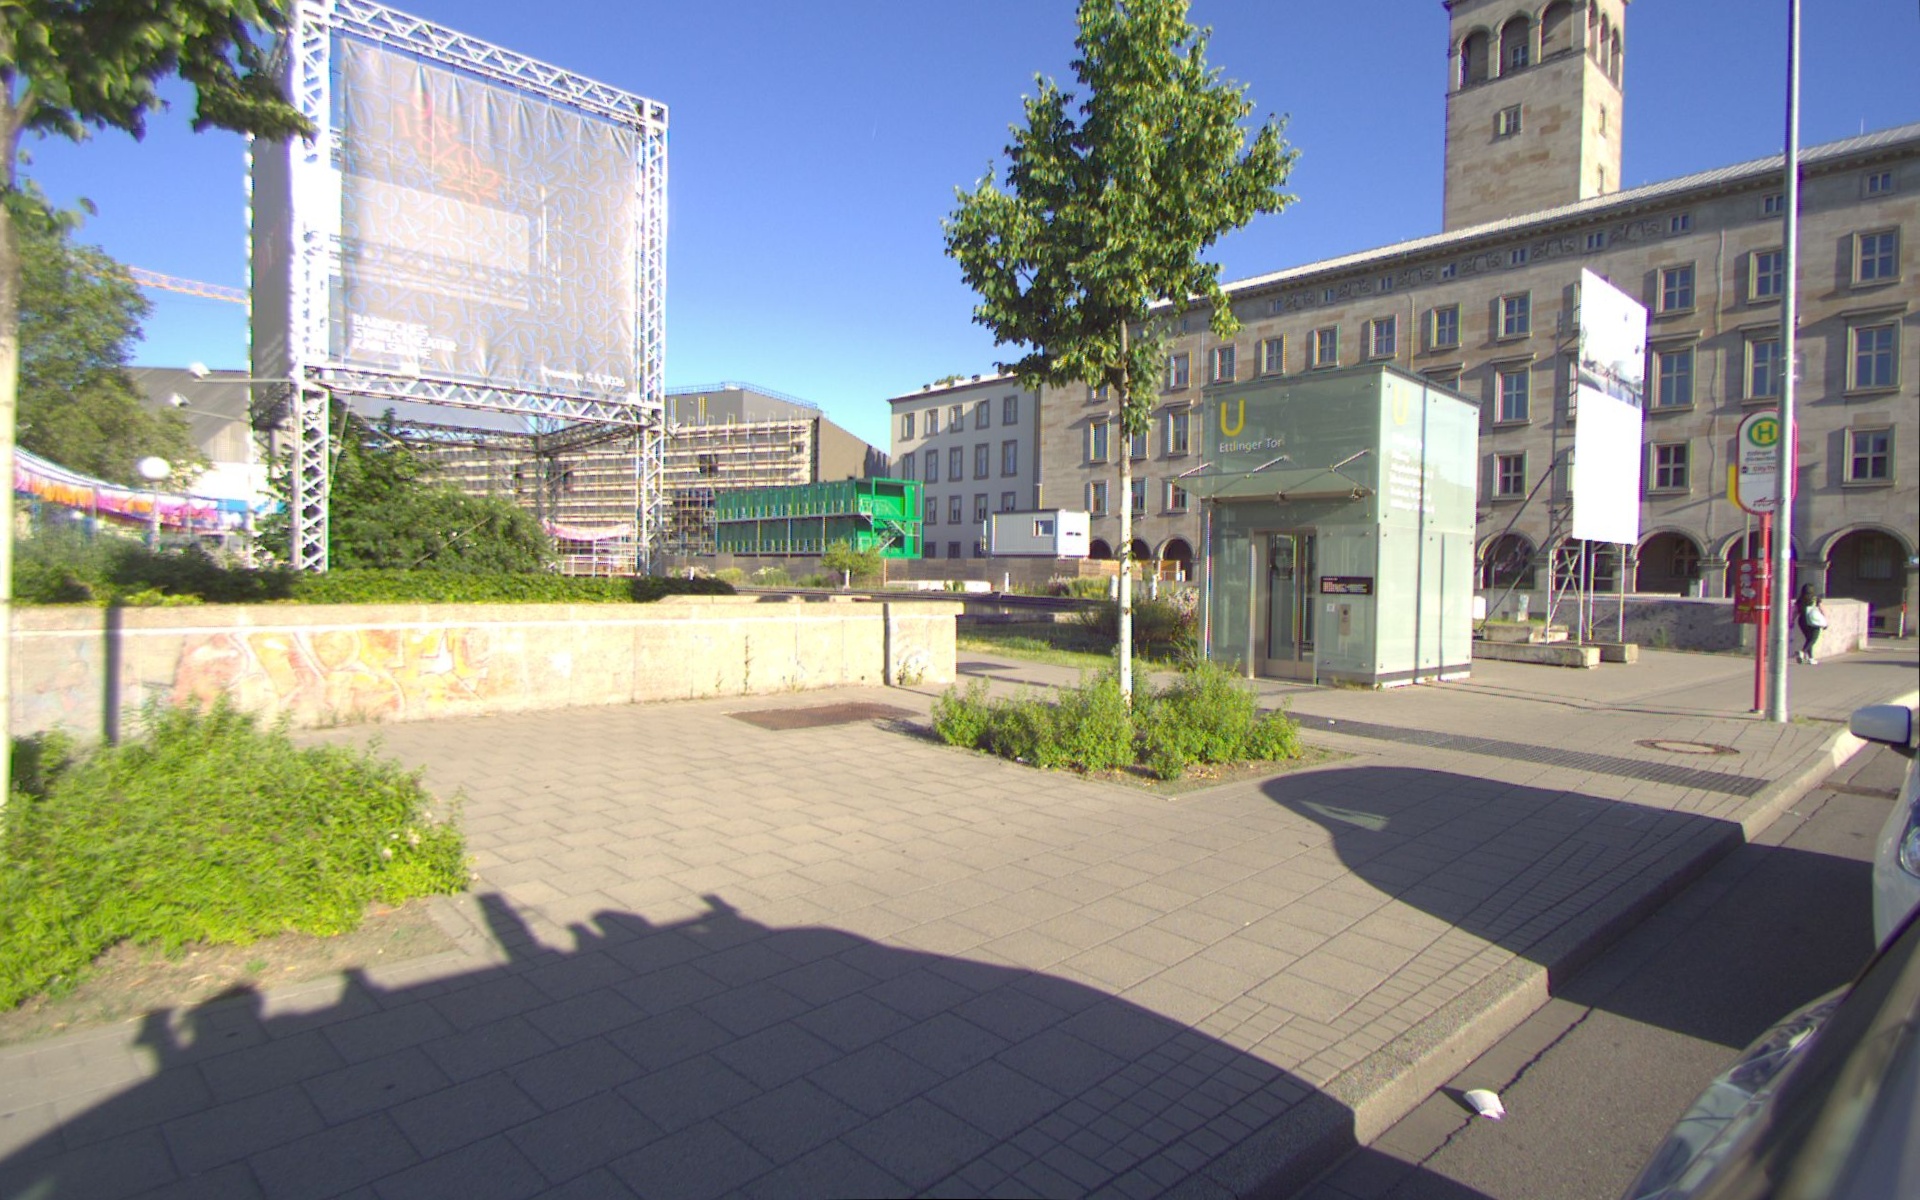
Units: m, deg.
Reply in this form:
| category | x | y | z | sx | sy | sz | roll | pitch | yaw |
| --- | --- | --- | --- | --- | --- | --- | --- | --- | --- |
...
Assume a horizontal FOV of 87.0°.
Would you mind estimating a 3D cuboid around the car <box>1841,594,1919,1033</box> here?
| category | x | y | z | sx | sy | sz | roll | pitch | yaw |
| --- | --- | --- | --- | --- | --- | --- | --- | --- | --- |
| car | 5.099 | 0.713 | 4.062 | 3.818 | 1.467 | 1.678 | 0 | 0 | -38 |

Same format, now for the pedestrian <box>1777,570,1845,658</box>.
| category | x | y | z | sx | sy | sz | roll | pitch | yaw |
| --- | --- | --- | --- | --- | --- | --- | --- | --- | --- |
| pedestrian | 18.304 | 0.280 | 21.758 | 1.053 | 1.809 | 0.941 | 0 | 1 | -41 |
